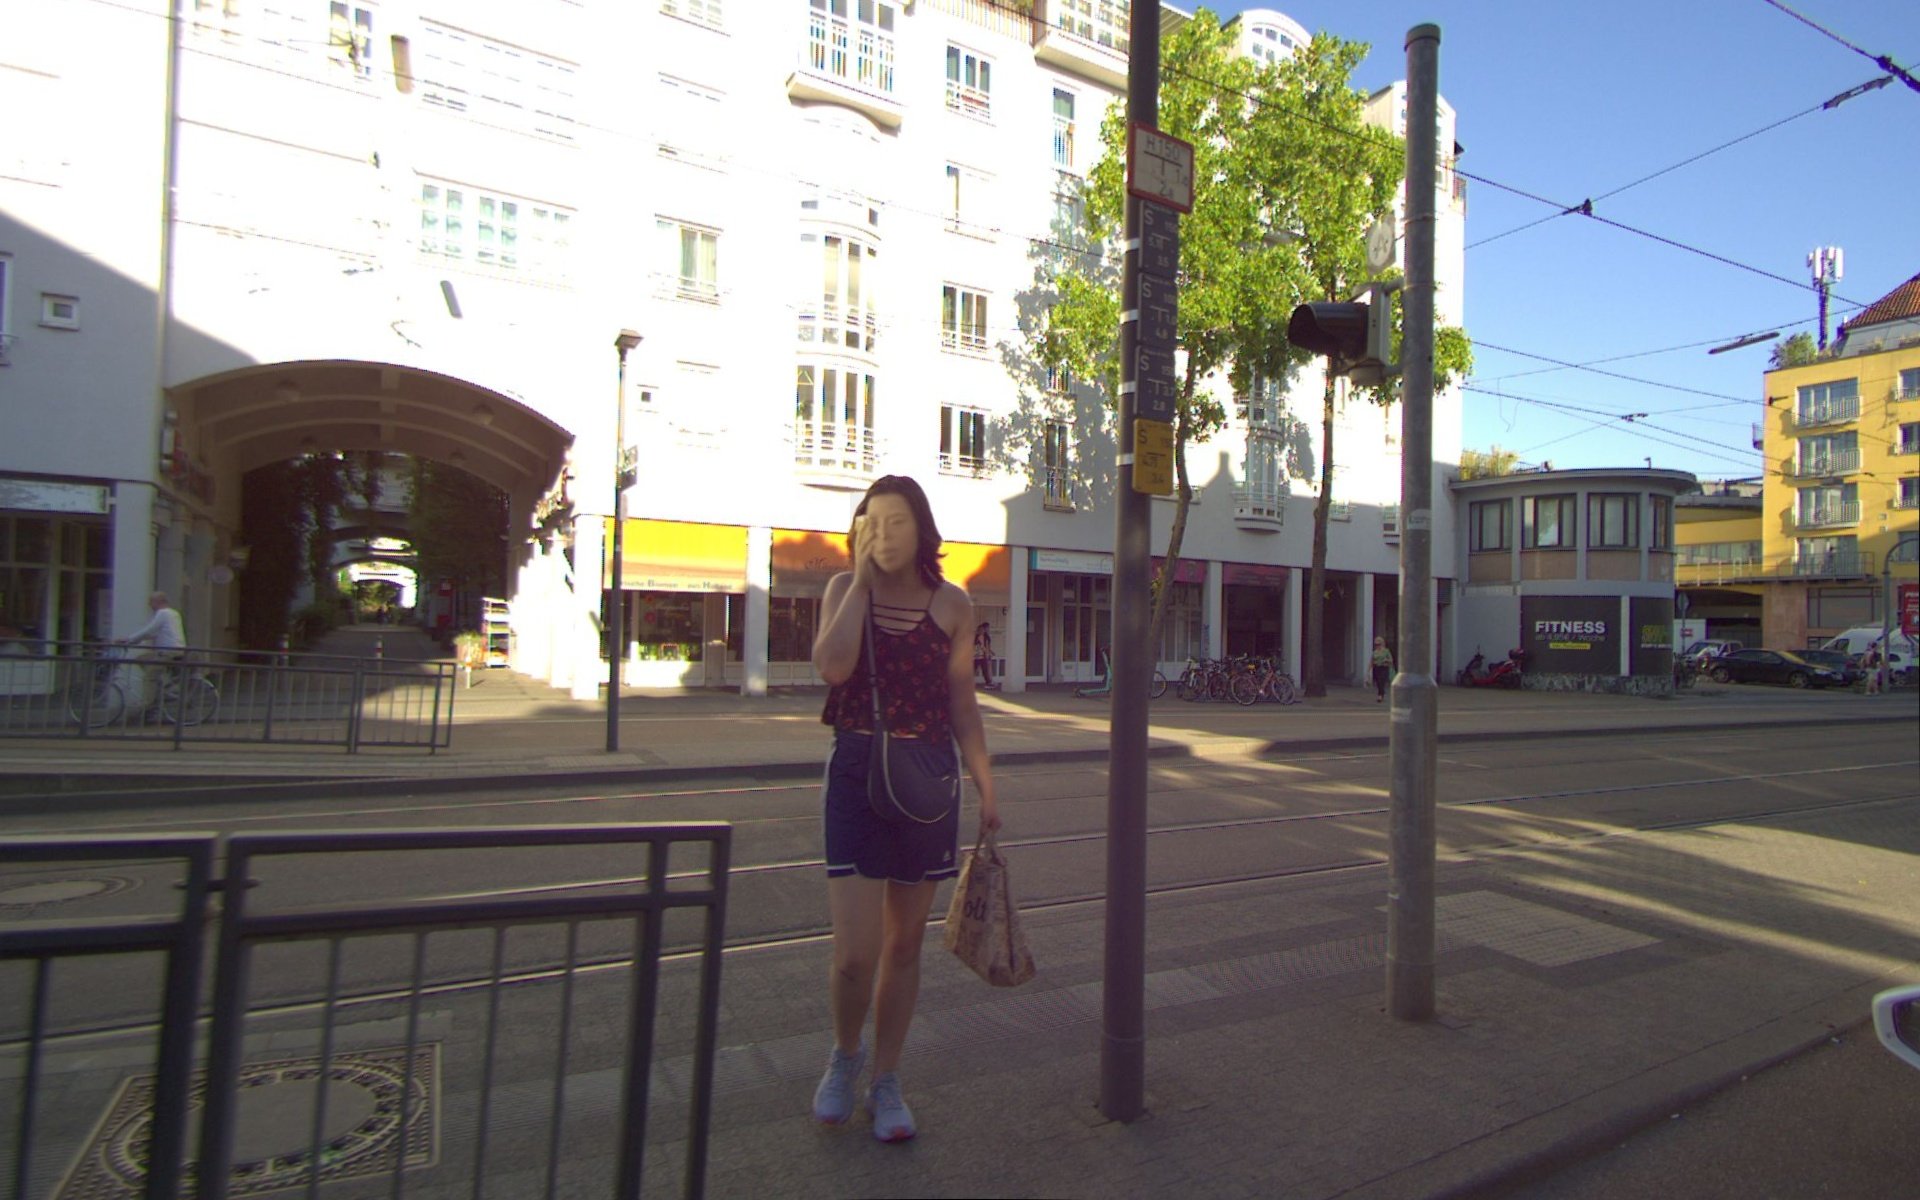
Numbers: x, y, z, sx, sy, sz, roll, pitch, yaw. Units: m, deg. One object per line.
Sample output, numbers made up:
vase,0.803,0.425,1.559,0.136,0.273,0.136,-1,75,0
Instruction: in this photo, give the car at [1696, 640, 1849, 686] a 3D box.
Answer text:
car,31.502,2.408,39.071,1.778,1.530,4.301,2,-1,-29

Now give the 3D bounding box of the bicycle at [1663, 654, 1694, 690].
bicycle,23.355,2.325,32.645,1.787,1.122,0.494,3,-2,-43

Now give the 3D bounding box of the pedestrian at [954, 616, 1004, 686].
pedestrian,0.485,1.267,25.209,0.870,1.683,0.853,2,1,-33

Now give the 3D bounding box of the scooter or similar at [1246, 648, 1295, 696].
scooter or similar,8.163,1.883,26.379,1.257,1.208,0.496,2,-2,-30

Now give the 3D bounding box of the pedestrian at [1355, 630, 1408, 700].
pedestrian,10.844,1.649,25.854,1.001,1.683,0.917,3,1,38

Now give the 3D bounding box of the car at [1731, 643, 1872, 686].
car,33.794,2.565,40.445,1.778,1.530,3.969,2,-1,-29

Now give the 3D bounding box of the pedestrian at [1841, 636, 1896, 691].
pedestrian,31.855,2.216,35.223,1.131,1.839,0.910,2,-1,-8

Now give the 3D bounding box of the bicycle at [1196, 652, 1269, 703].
bicycle,6.395,1.793,23.544,1.779,1.122,0.496,1,1,-30

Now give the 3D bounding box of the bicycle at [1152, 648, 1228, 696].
bicycle,5.586,1.746,24.362,1.772,1.122,0.498,2,1,-19

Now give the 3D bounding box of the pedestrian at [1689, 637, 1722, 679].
pedestrian,30.715,2.366,41.399,0.873,1.673,0.764,1,-1,18

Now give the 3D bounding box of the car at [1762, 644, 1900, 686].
car,36.031,2.655,41.668,1.778,1.530,3.969,2,-1,-29

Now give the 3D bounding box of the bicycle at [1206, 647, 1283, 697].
bicycle,7.077,1.792,25.064,1.763,1.122,0.500,2,1,10

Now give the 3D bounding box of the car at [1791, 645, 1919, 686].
car,38.240,2.742,42.840,1.778,1.530,3.969,2,-1,-29

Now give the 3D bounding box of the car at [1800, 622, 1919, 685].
car,40.469,2.325,44.102,2.103,2.610,5.083,2,-1,-29

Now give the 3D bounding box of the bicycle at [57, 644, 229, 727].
bicycle,-11.611,1.198,14.353,1.779,1.122,0.652,2,-2,-30

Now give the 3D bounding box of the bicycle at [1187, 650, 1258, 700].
bicycle,6.281,1.779,23.973,1.779,1.122,0.496,1,1,-30

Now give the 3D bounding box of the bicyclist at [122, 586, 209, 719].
bicyclist,-11.427,0.749,14.472,0.835,1.860,0.652,2,-2,-30

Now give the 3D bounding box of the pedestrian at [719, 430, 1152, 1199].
pedestrian,-0.101,0.519,2.634,0.779,1.737,0.864,1,1,-33

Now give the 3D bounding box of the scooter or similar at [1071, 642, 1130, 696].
scooter or similar,3.287,1.619,23.528,1.252,1.209,0.498,1,2,-19

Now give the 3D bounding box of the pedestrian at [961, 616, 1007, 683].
pedestrian,0.626,1.286,26.384,0.786,1.683,0.853,2,1,-33

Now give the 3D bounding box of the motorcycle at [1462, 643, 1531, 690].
motorcycle,16.885,2.084,31.629,0.600,1.315,1.782,2,1,-36

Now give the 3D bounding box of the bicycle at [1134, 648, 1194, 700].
bicycle,4.750,1.729,23.458,1.247,1.122,0.500,2,1,-3

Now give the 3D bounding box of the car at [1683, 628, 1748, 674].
car,39.187,2.637,52.068,3.966,2.237,1.780,2,-1,-39

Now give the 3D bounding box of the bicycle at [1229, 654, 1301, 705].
bicycle,7.116,1.830,23.385,1.779,1.122,0.496,1,1,-30
